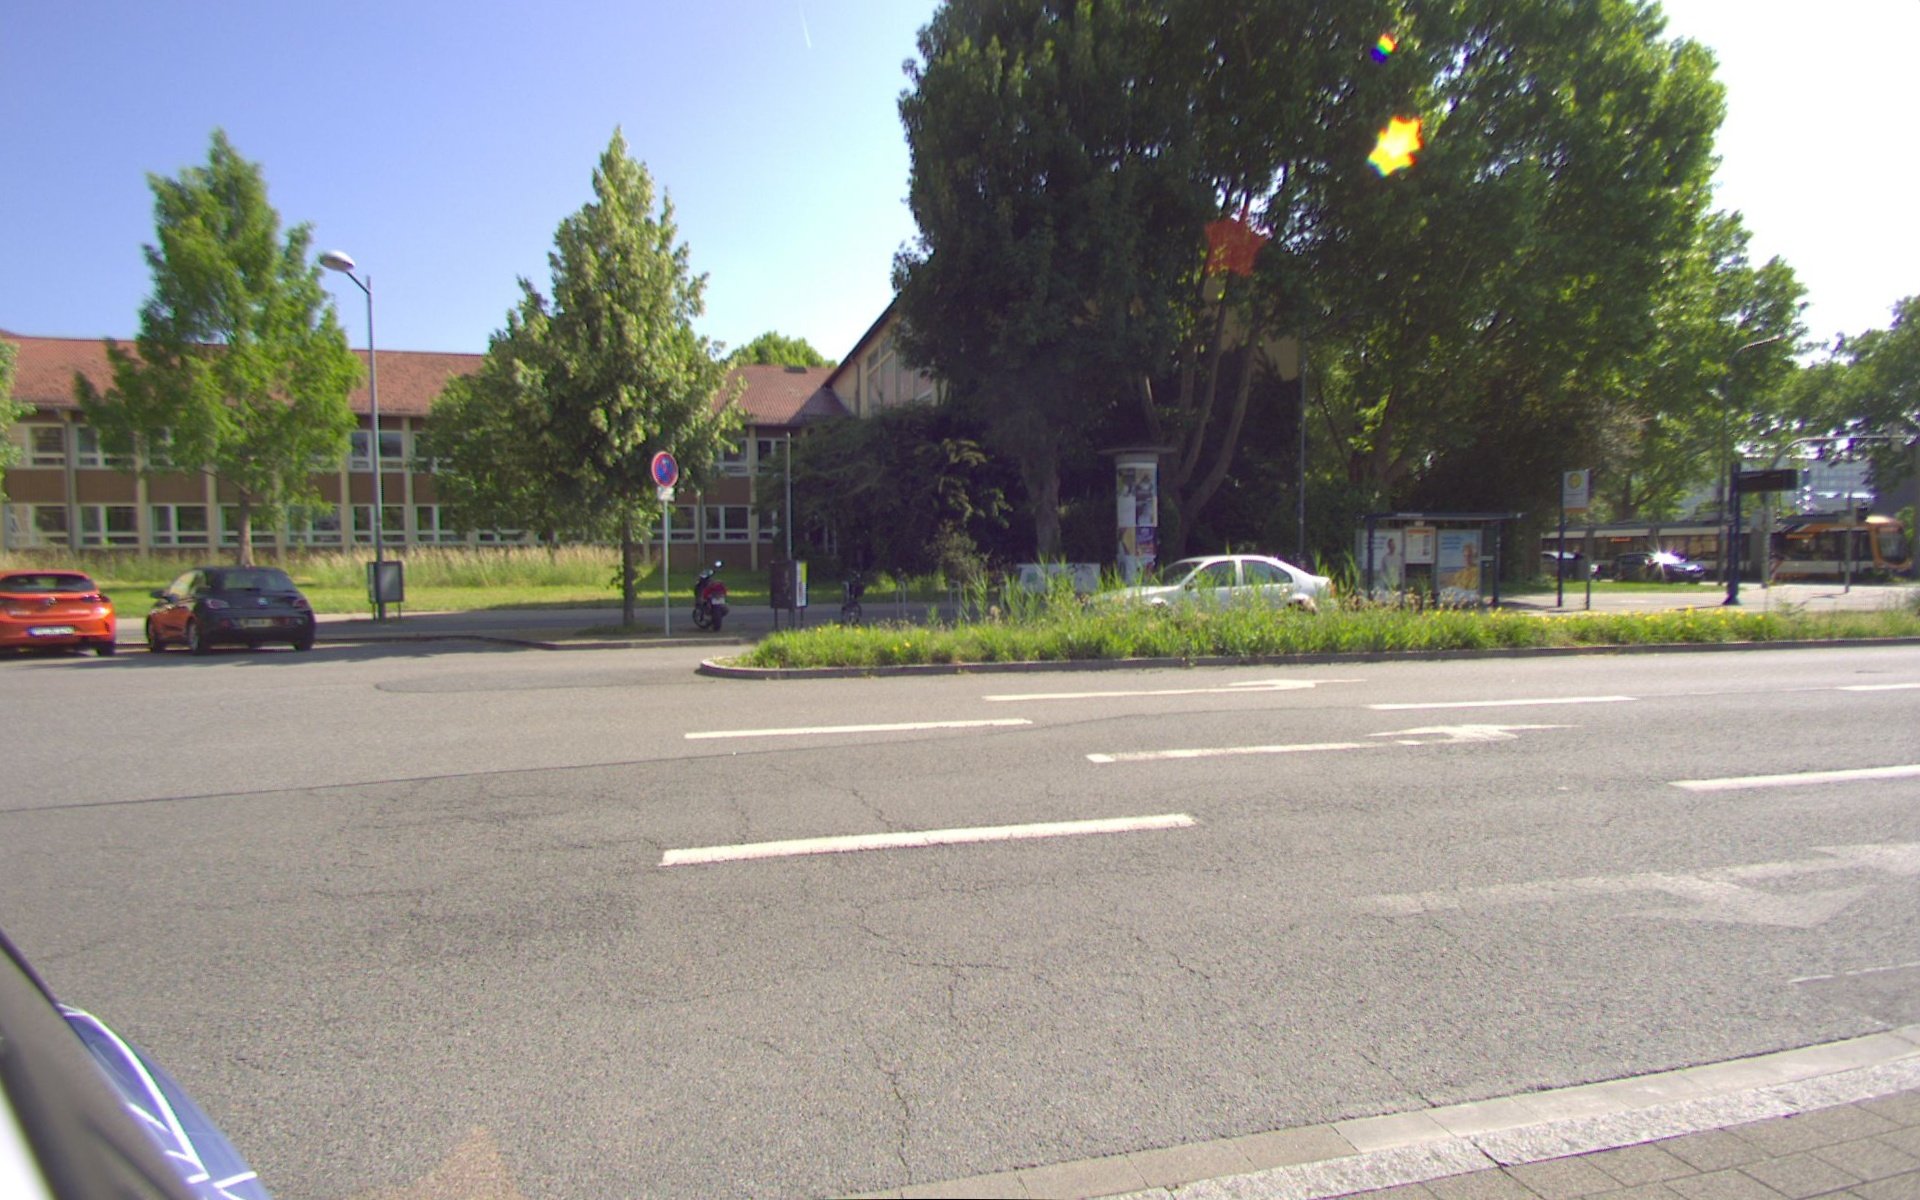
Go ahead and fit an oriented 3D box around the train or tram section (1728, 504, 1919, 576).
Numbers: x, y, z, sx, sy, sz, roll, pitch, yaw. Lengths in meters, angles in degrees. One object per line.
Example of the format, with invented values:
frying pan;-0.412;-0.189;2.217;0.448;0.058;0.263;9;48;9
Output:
train or tram section;43.925;-2.983;51.297;3.067;3.356;7.603;-1;2;-15

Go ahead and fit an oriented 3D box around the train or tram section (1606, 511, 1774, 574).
train or tram section;41.998;-3.259;58.615;3.067;3.356;7.603;-1;2;-15

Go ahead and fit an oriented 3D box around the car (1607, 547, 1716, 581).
car;29.392;-1.518;42.500;1.610;1.387;3.521;-1;2;-15

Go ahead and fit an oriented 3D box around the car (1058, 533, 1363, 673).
car;4.074;-0.024;16.689;4.323;1.650;2.006;-7;4;-15

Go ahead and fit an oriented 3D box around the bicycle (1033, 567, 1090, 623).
bicycle;2.189;-0.135;22.053;0.681;1.130;1.856;-1;2;-12

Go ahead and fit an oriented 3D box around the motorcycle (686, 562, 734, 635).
motorcycle;-4.774;-0.061;19.276;0.681;1.294;1.857;-1;3;-20

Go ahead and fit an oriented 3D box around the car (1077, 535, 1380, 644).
car;4.374;-0.224;16.678;4.442;1.622;1.902;-1;2;-14

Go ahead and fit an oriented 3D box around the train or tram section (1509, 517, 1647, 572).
train or tram section;40.074;-3.567;65.978;3.067;3.356;7.603;-1;2;-15

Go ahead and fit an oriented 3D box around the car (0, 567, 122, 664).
car;-15.403;0.170;16.805;3.841;1.434;1.692;2;3;42

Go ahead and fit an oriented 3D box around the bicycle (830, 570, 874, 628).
bicycle;-2.202;-0.044;20.516;0.681;1.100;1.856;-1;2;-12

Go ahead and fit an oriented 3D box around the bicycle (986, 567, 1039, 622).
bicycle;1.108;-0.149;21.895;0.681;1.114;1.856;-1;2;-12

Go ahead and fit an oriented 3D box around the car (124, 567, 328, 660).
car;-12.705;0.183;17.463;3.768;1.434;1.833;0;1;37
